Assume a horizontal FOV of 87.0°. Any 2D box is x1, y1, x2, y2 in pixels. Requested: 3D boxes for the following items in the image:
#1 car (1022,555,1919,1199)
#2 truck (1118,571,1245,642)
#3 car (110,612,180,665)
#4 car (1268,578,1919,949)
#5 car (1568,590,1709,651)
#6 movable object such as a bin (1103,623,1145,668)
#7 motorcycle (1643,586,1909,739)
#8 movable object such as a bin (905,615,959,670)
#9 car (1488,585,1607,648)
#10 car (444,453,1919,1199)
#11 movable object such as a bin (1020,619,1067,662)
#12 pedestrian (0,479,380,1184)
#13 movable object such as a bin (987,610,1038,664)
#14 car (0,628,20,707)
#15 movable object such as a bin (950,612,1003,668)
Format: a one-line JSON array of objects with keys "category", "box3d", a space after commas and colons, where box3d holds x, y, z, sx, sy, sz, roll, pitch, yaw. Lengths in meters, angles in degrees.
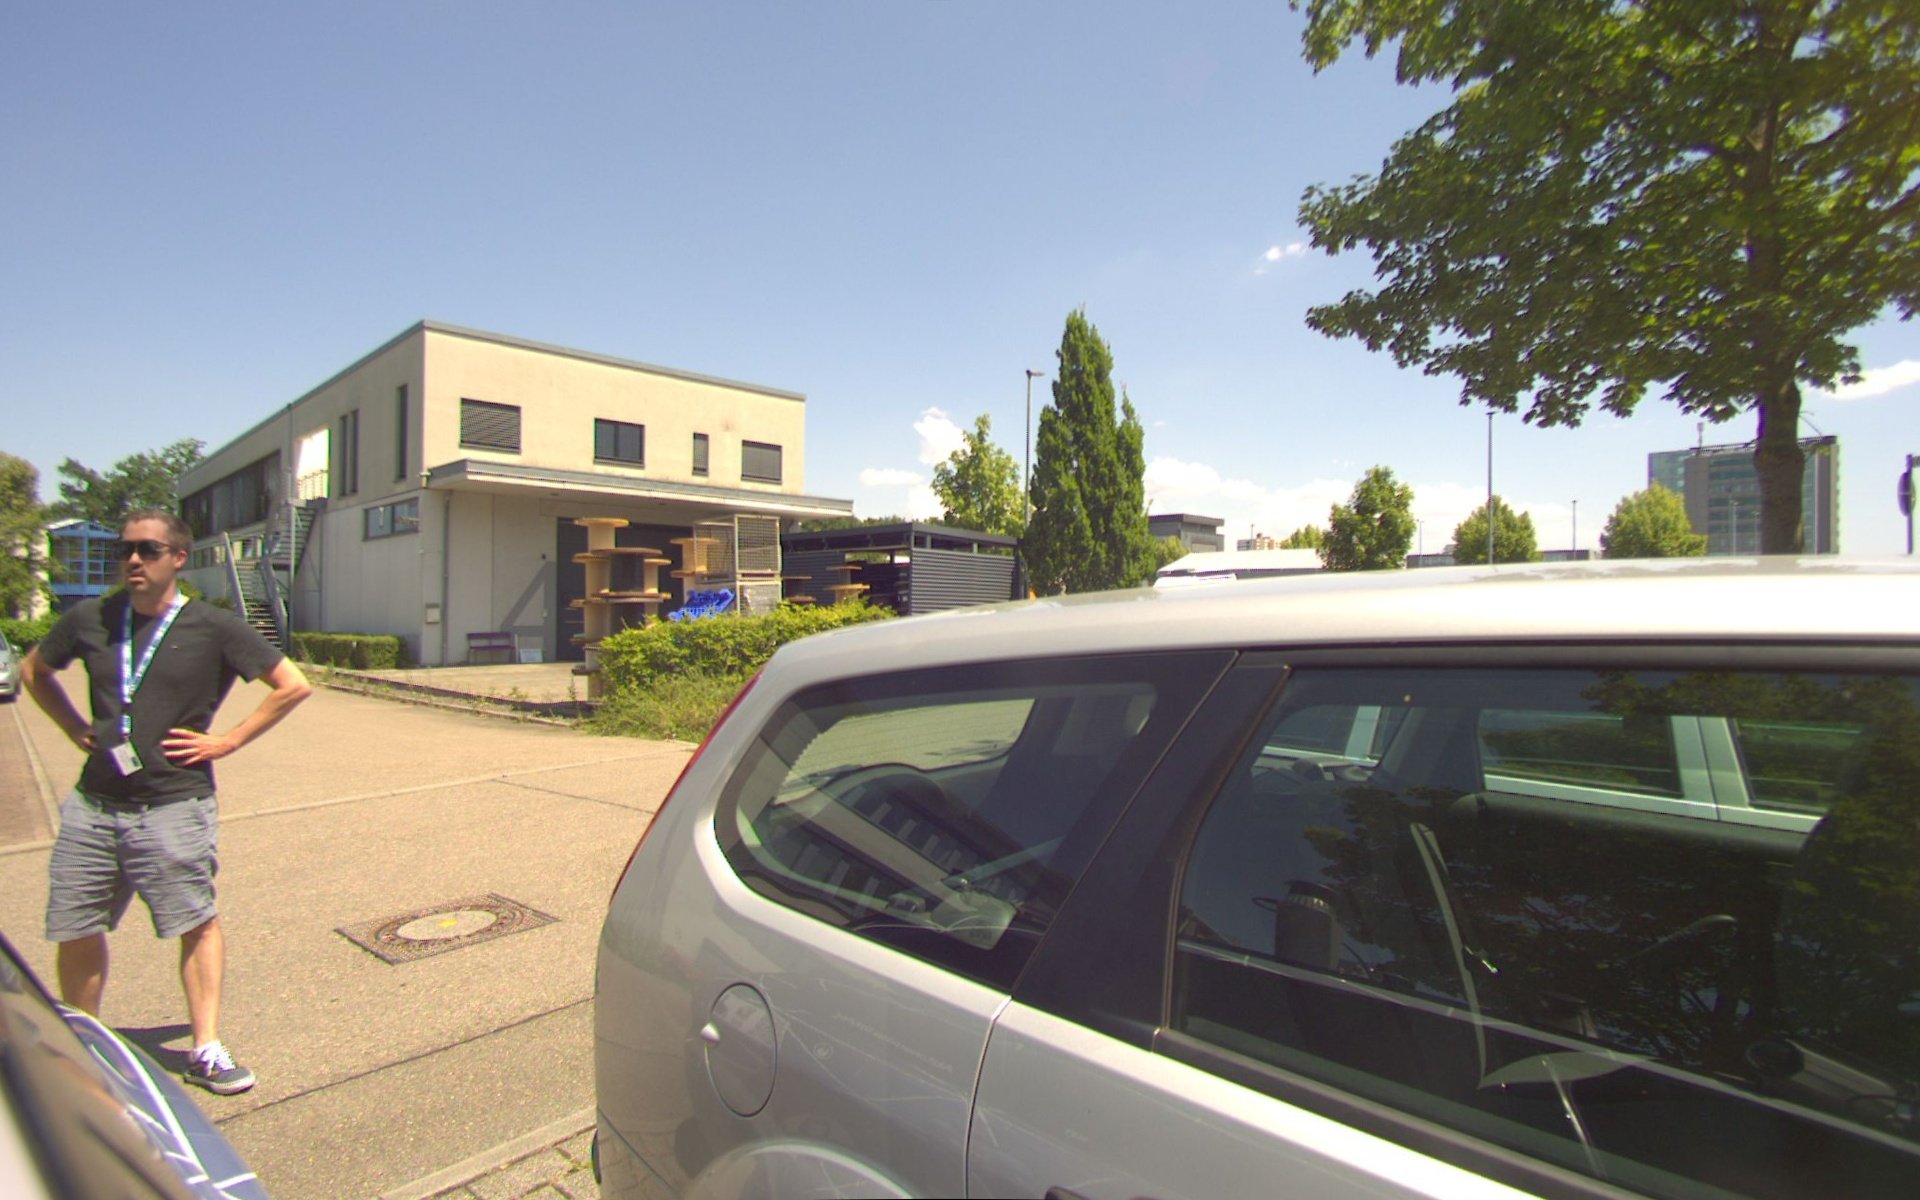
[{"category": "car", "box3d": [2.258, 0.650, 3.107, 3.886, 1.490, 1.632, -1, -1, 38]}, {"category": "truck", "box3d": [9.192, 0.251, 41.615, 5.614, 2.692, 2.420, -1, -1, -45]}, {"category": "car", "box3d": [-30.059, 1.367, 37.281, 1.761, 1.817, 4.004, -1, 0, -43]}, {"category": "car", "box3d": [3.731, 0.649, 5.037, 3.886, 1.459, 1.632, -1, -1, 38]}, {"category": "car", "box3d": [18.595, 0.534, 27.705, 3.932, 1.533, 1.658, -1, 0, -31]}, {"category": "movable object such as a bin", "box3d": [3.740, 1.032, 23.095, 0.581, 0.977, 0.761, -1, -1, -40]}, {"category": "motorcycle", "box3d": [8.026, 0.594, 10.070, 1.986, 1.400, 0.478, -2, -1, 38]}, {"category": "movable object such as a bin", "box3d": [-0.669, 1.010, 24.335, 1.056, 1.280, 0.761, -1, -1, -40]}, {"category": "car", "box3d": [17.401, 0.454, 29.917, 3.936, 1.751, 1.776, -1, 0, -39]}, {"category": "car", "box3d": [1.307, 0.656, 0.986, 4.346, 1.490, 1.702, -1, -1, 41]}, {"category": "movable object such as a bin", "box3d": [2.203, 1.046, 26.737, 0.972, 1.092, 0.761, -1, 0, -40]}, {"category": "pedestrian", "box3d": [-2.370, 0.601, 3.211, 0.846, 1.834, 0.907, -1, -1, -26]}, {"category": "movable object such as a bin", "box3d": [1.350, 0.931, 26.057, 1.056, 1.346, 0.761, -1, -1, -40]}, {"category": "car", "box3d": [-19.080, 1.252, 19.196, 1.686, 1.402, 3.816, 1, -1, -41]}, {"category": "movable object such as a bin", "box3d": [0.409, 0.973, 25.112, 1.056, 1.346, 0.761, -1, -1, -40]}]
